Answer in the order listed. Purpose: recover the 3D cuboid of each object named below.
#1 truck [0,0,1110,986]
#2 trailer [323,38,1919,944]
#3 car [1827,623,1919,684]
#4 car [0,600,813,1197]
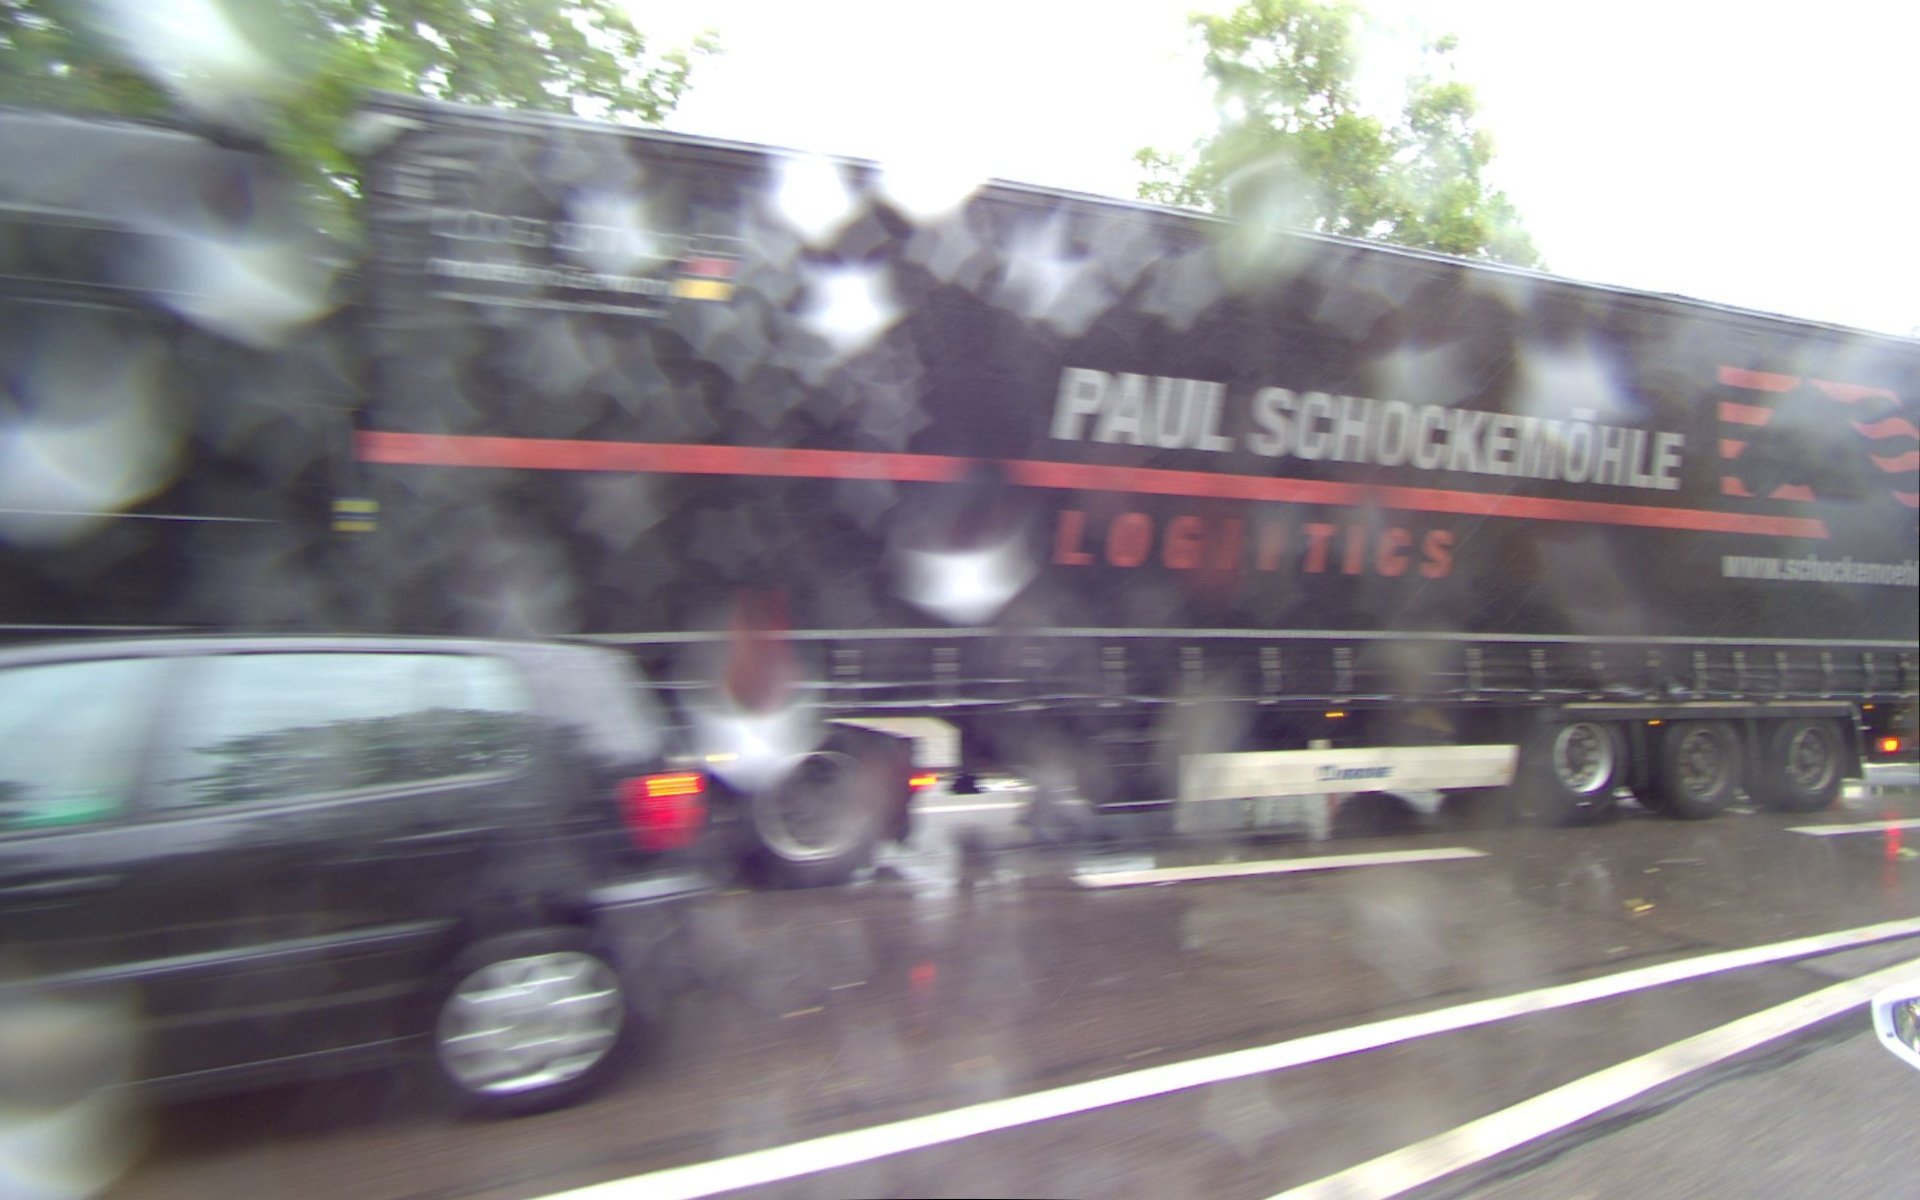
[{"bbox_3d":[-2.916,-0.443,6.343,6.866,4.132,3.447,0,-1,-20],"label":"truck"},{"bbox_3d":[3.579,-0.422,8.644,14.817,4.102,3.439,0,-2,-20],"label":"trailer"},{"bbox_3d":[24.114,1.327,24.625,4.276,1.414,2.003,1,-1,41],"label":"car"},{"bbox_3d":[-2.636,0.717,3.108,4.041,1.391,1.694,0,-1,-23],"label":"car"}]
